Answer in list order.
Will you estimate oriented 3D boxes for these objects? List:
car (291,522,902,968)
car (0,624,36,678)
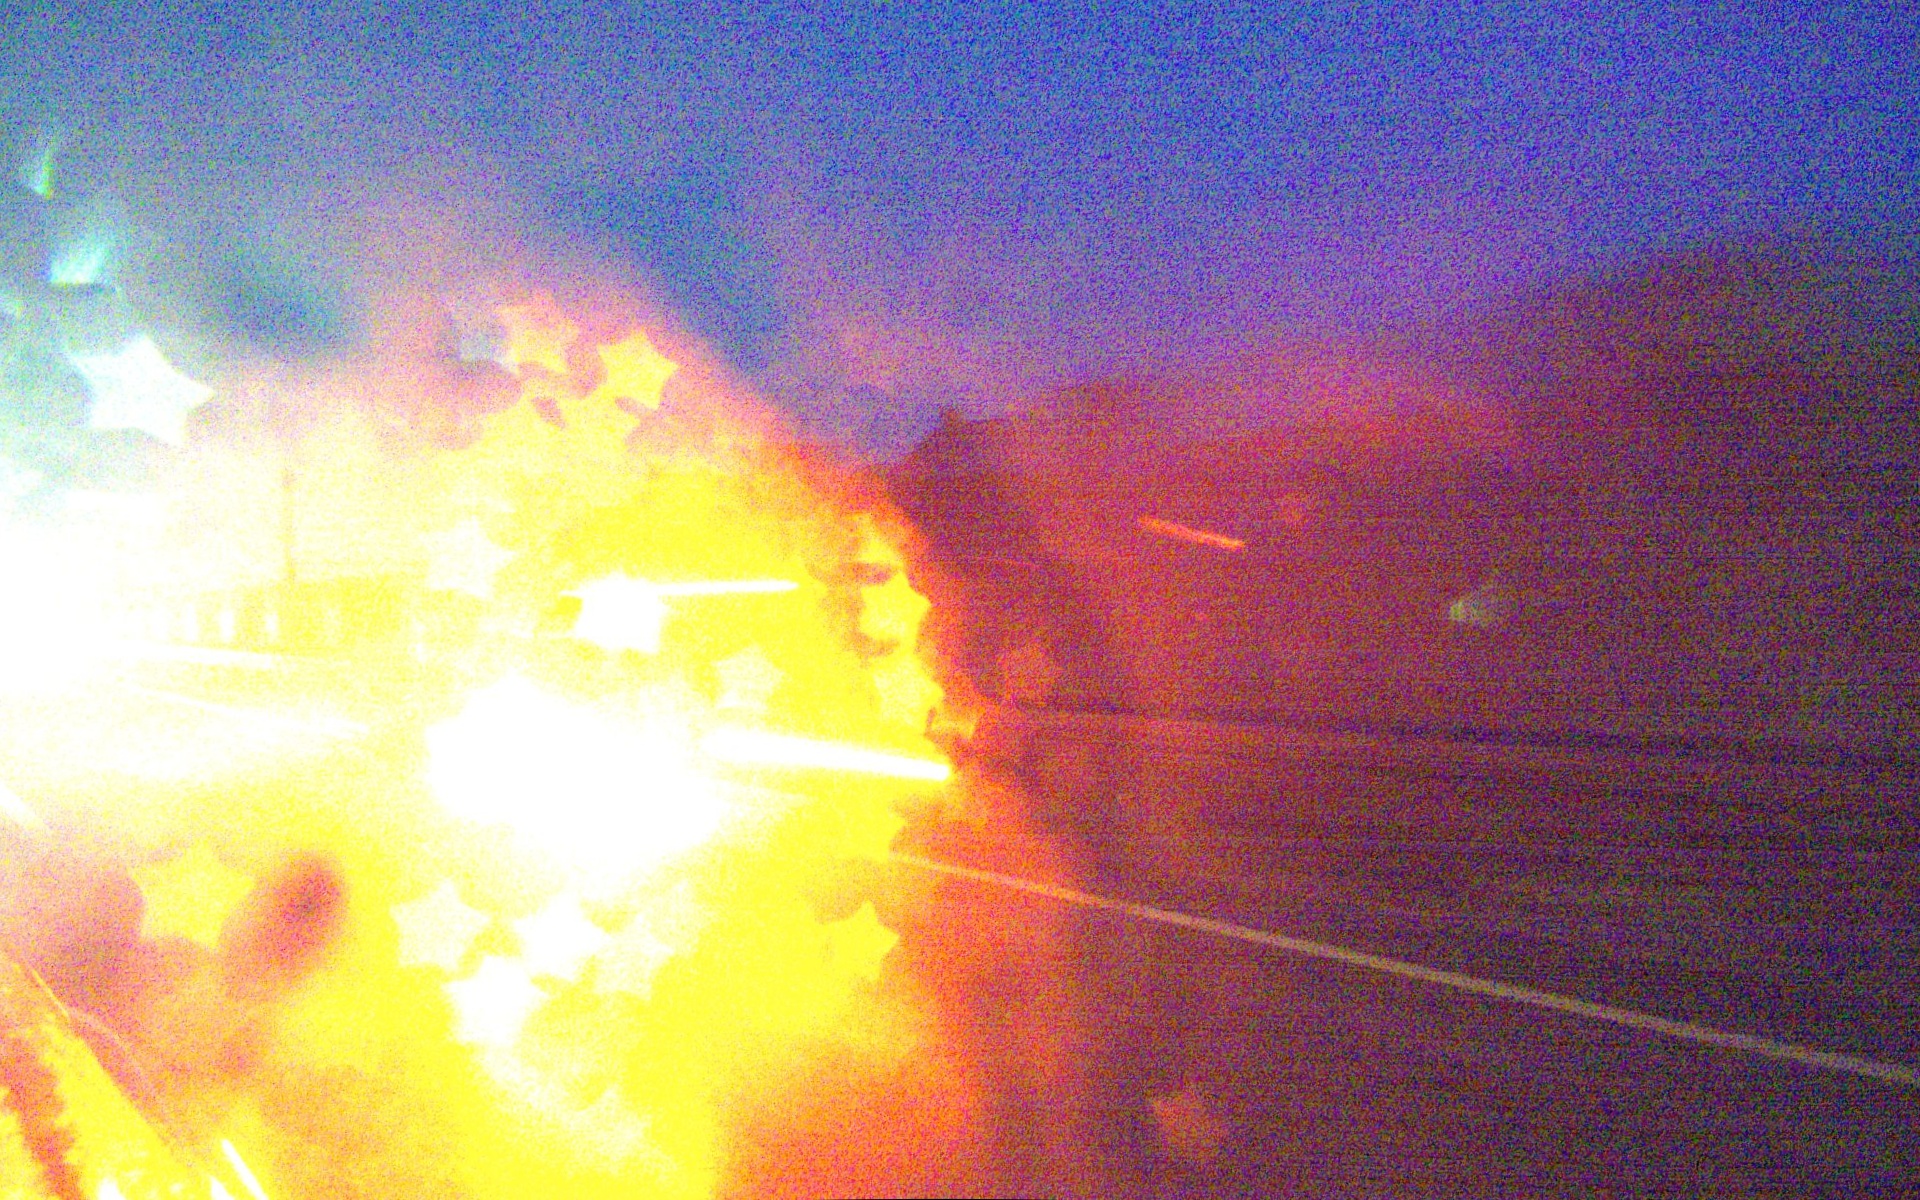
[{"bbox_3d":[-2.332,0.602,5.960,3.876,1.773,1.724,-1,-1,41],"label":"car"},{"bbox_3d":[-27.202,1.406,28.085,4.596,1.404,1.971,-2,-1,44],"label":"car"}]
